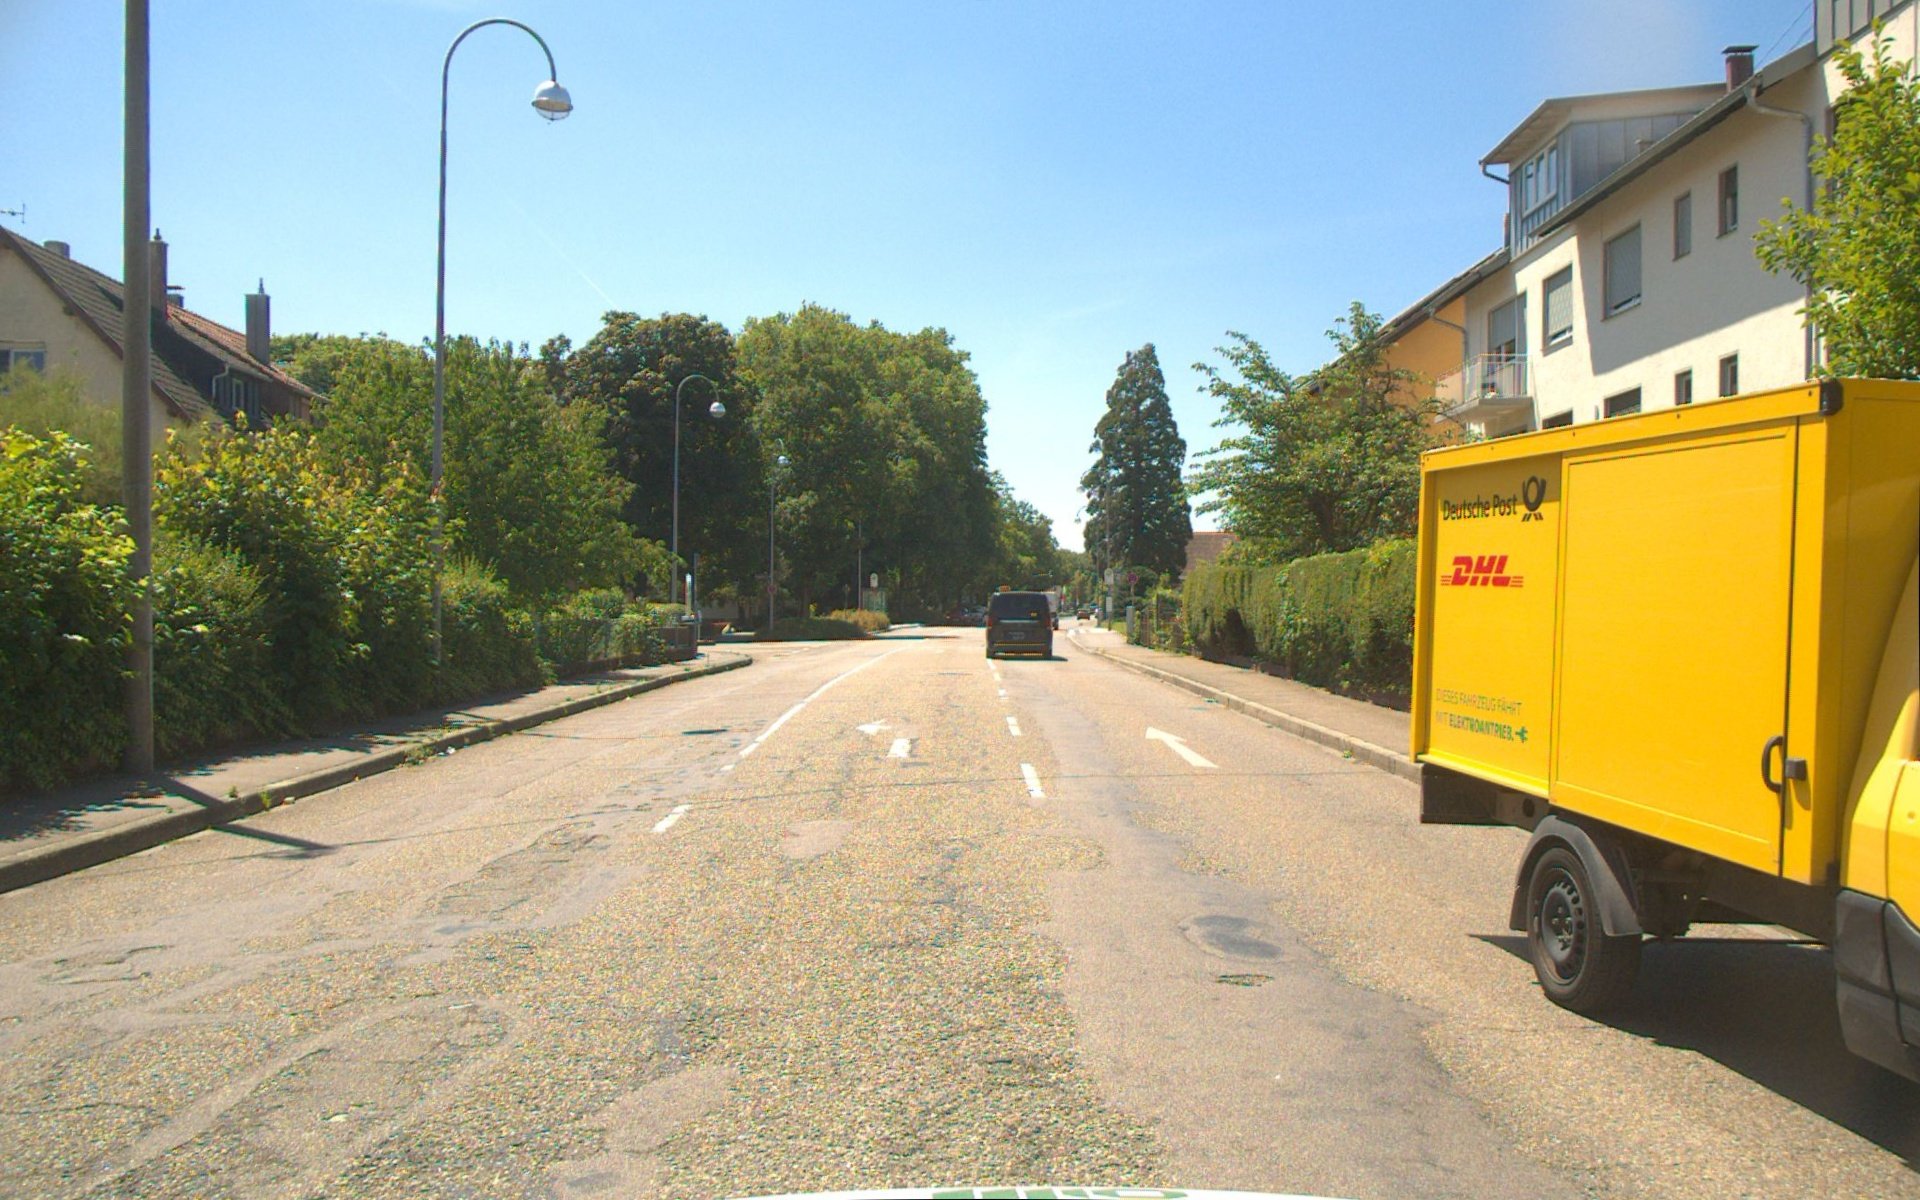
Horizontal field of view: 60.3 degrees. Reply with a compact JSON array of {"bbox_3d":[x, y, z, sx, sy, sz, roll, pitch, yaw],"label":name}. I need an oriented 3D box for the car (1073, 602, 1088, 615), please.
[{"bbox_3d":[16.420,1.109,225.946,1.819,1.671,4.001,1,1,2],"label":"car"}]

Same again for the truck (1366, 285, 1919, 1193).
[{"bbox_3d":[3.378,0.370,5.398,1.974,2.349,6.169,2,1,-6],"label":"truck"}]

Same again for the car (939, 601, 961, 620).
[{"bbox_3d":[-0.799,0.875,134.099,1.518,1.476,3.692,1,0,3],"label":"car"}]

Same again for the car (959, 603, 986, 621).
[{"bbox_3d":[1.088,1.029,141.906,1.655,1.485,3.643,2,1,9],"label":"car"}]

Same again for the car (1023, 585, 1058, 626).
[{"bbox_3d":[5.590,0.377,115.236,2.076,2.724,5.662,1,1,0],"label":"car"}]

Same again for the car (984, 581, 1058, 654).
[{"bbox_3d":[1.714,0.458,46.601,1.952,1.926,4.001,1,1,2],"label":"car"}]
